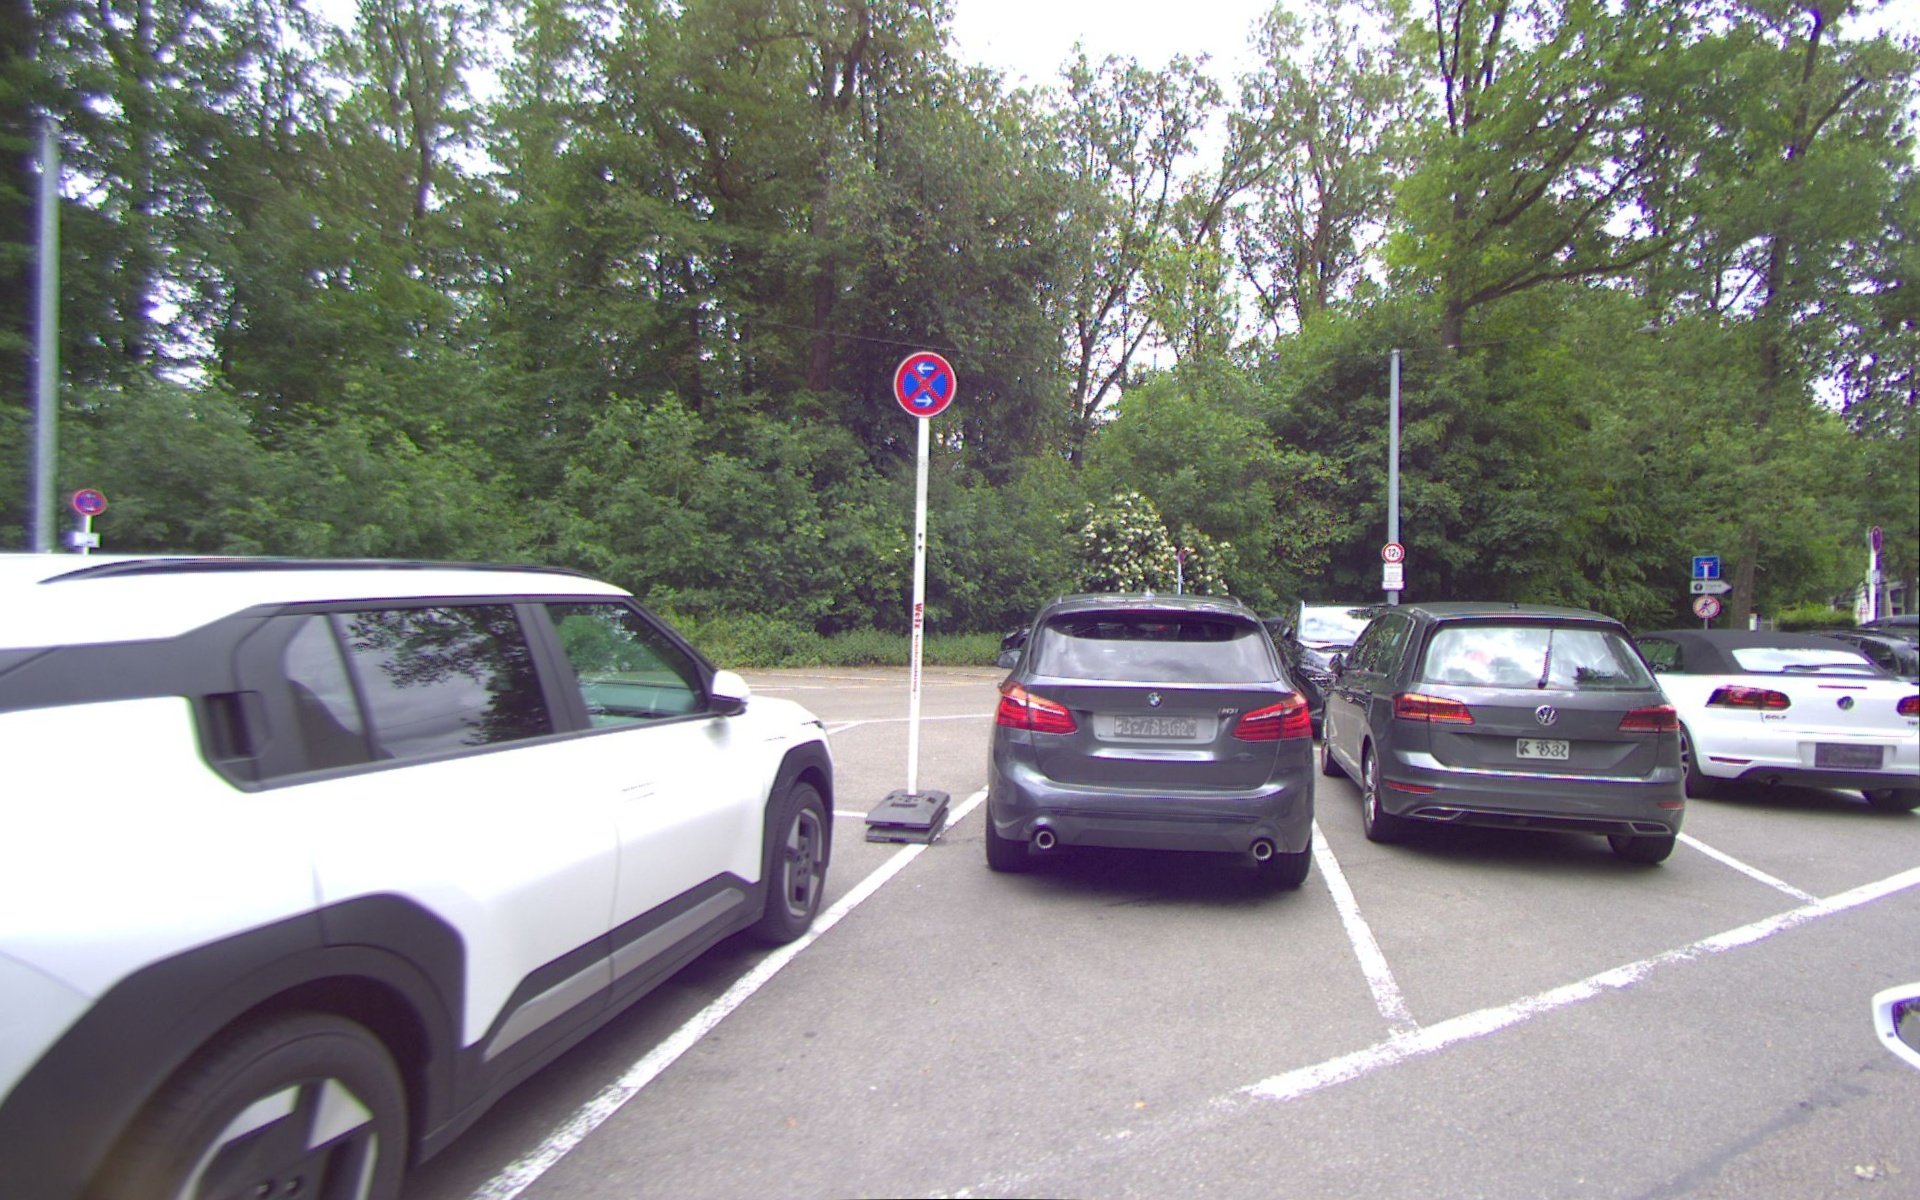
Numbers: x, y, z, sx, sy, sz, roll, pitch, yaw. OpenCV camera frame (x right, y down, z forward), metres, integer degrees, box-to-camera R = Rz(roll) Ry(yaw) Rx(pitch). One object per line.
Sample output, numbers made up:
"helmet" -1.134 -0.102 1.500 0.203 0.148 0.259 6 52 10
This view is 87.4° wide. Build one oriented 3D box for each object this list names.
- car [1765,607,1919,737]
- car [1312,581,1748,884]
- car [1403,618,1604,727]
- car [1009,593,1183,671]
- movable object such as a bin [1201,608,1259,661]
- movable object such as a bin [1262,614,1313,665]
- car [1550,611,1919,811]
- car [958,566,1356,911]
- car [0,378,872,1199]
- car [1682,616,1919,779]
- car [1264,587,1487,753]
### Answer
"car" 13.146 0.937 13.558 1.792 1.630 4.390 2 0 13
"car" 3.823 0.730 7.557 1.810 1.608 3.979 1 0 14
"car" 8.315 1.009 15.798 1.733 1.412 4.394 1 -1 14
"car" 3.364 0.740 24.660 3.990 1.707 1.785 2 0 16
"movable object such as a bin" 7.647 0.971 28.463 1.116 1.444 1.119 2 -1 -27
"movable object such as a bin" 9.000 1.078 27.571 1.107 1.332 1.182 1 -1 30
"car" 7.199 0.866 9.546 1.737 1.462 3.848 2 0 15
"car" 1.182 0.661 6.768 1.835 1.575 4.002 1 0 8
"car" -1.777 0.527 3.207 1.809 1.618 4.193 1 0 12
"car" 9.968 0.941 11.031 1.724 1.462 4.281 2 0 12
"car" 4.973 0.751 12.603 1.860 1.685 4.002 2 0 12
